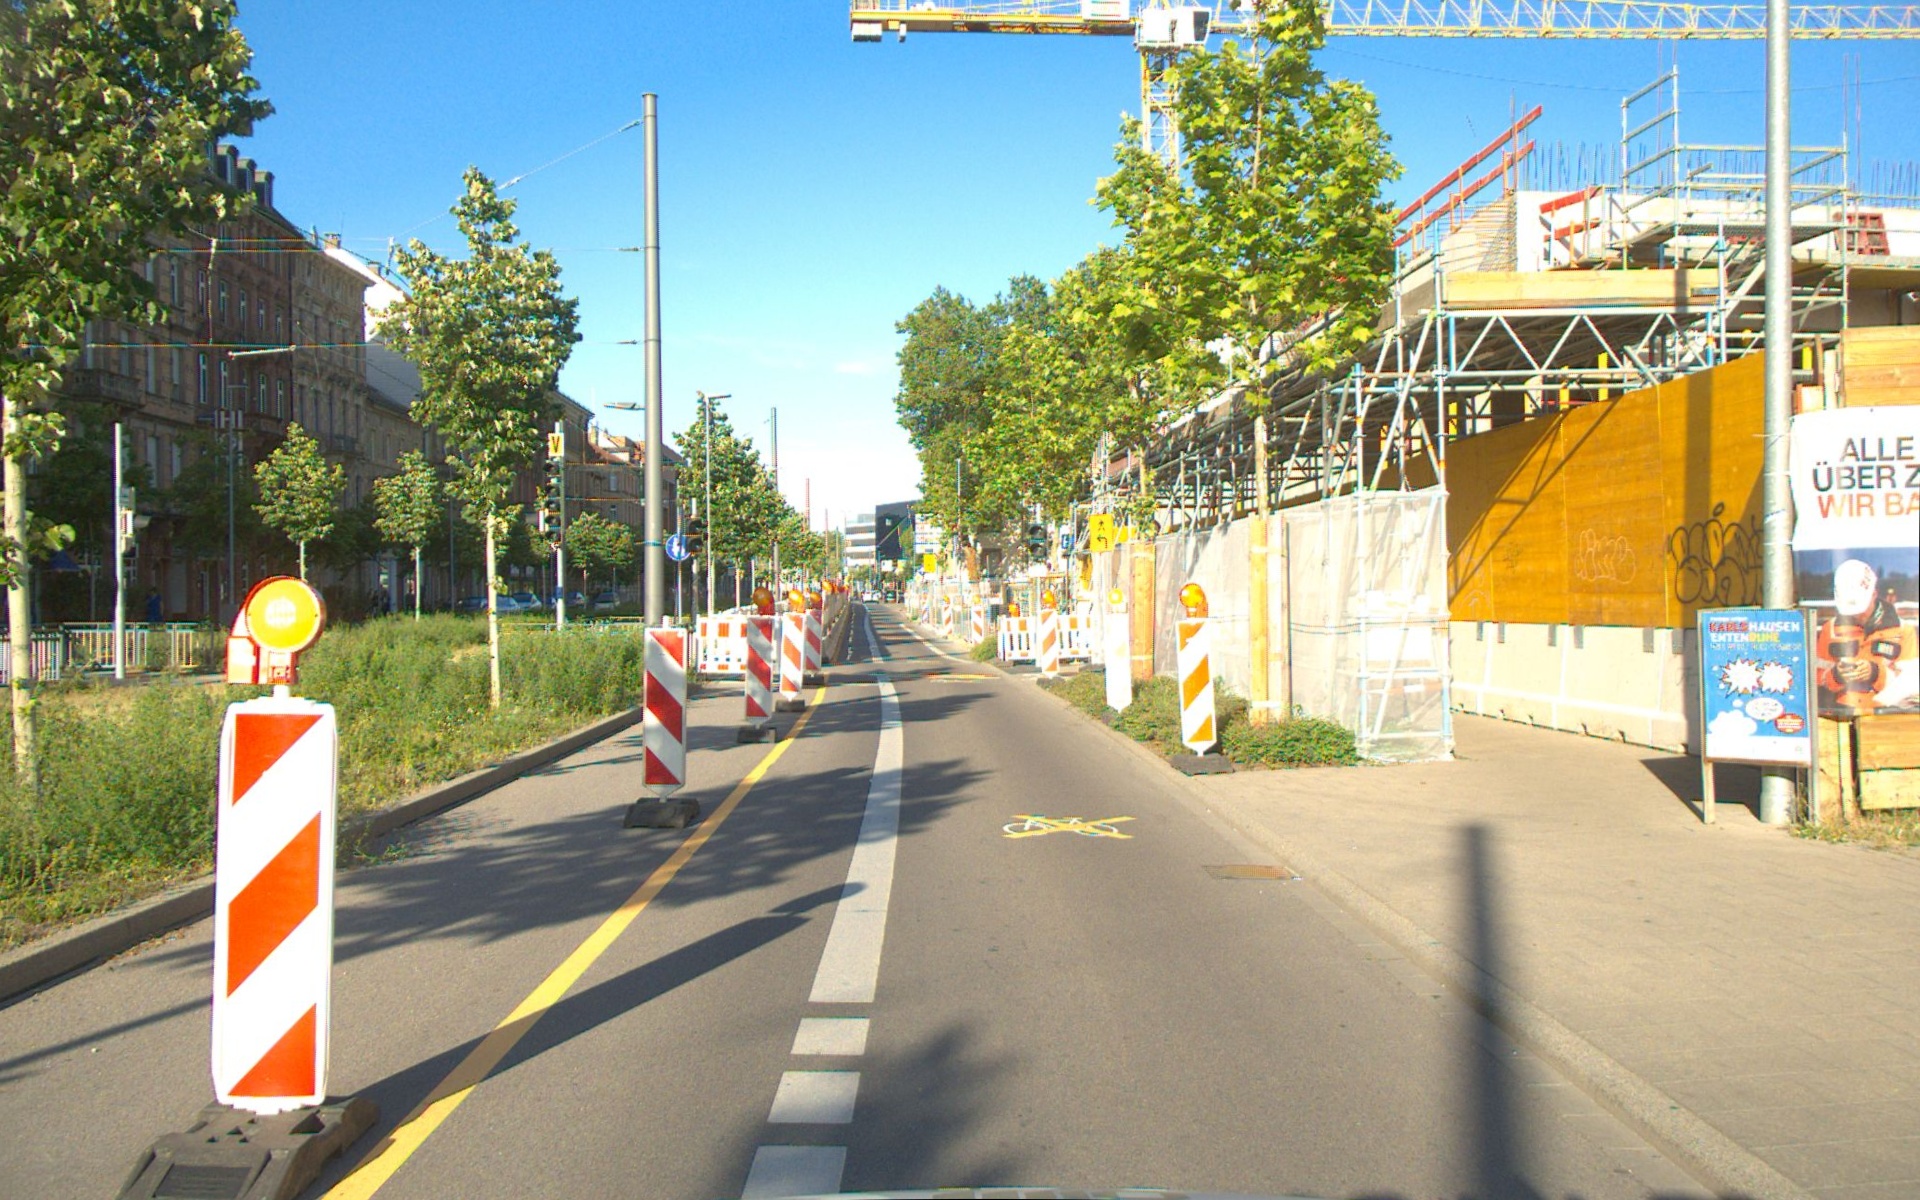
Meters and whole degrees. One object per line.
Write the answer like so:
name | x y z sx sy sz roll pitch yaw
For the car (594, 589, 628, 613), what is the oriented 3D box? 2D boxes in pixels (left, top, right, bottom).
car | -23.226 0.057 110.106 1.562 1.509 3.622 0 0 -2

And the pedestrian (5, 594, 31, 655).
pedestrian | -28.408 0.732 49.864 0.498 1.795 0.406 2 0 -4

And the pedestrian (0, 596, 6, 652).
pedestrian | -27.804 0.680 47.482 0.477 1.612 0.533 2 0 -3

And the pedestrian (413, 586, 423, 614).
pedestrian | -31.238 0.007 95.385 0.397 1.559 0.435 2 0 -3

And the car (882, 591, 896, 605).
car | -9.798 -0.334 228.477 1.846 1.875 3.665 -1 1 -4

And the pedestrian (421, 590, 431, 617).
pedestrian | -32.869 0.228 101.831 0.452 1.612 0.434 2 0 -10

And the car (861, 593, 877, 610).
car | -10.674 0.162 193.830 1.846 1.875 3.665 -1 1 -4

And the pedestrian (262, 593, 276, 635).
pedestrian | -29.849 0.618 71.447 0.359 1.795 0.406 2 0 -3

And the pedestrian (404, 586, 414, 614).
pedestrian | -31.733 -0.008 95.248 0.397 1.561 0.435 2 0 -3

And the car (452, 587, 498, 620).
car | -26.348 0.167 89.946 1.535 1.704 3.806 -1 1 -3

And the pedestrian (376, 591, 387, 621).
pedestrian | -31.728 0.320 90.678 0.425 1.612 0.385 2 0 -6

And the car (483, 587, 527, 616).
car | -26.672 0.071 97.050 1.535 1.590 4.711 -1 1 -3

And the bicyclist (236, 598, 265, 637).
bicyclist | -23.046 0.571 53.747 0.624 1.261 0.738 0 0 -2

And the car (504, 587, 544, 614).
car | -27.370 0.011 103.870 1.535 1.590 4.711 -1 1 -4

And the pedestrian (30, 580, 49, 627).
pedestrian | -31.718 0.135 57.018 0.377 1.612 0.390 1 0 27

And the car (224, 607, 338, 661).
car | -20.255 0.972 49.519 1.816 1.445 4.068 2 0 -2

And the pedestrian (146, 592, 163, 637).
pedestrian | -29.480 0.535 60.550 0.395 1.612 0.425 2 0 -4
